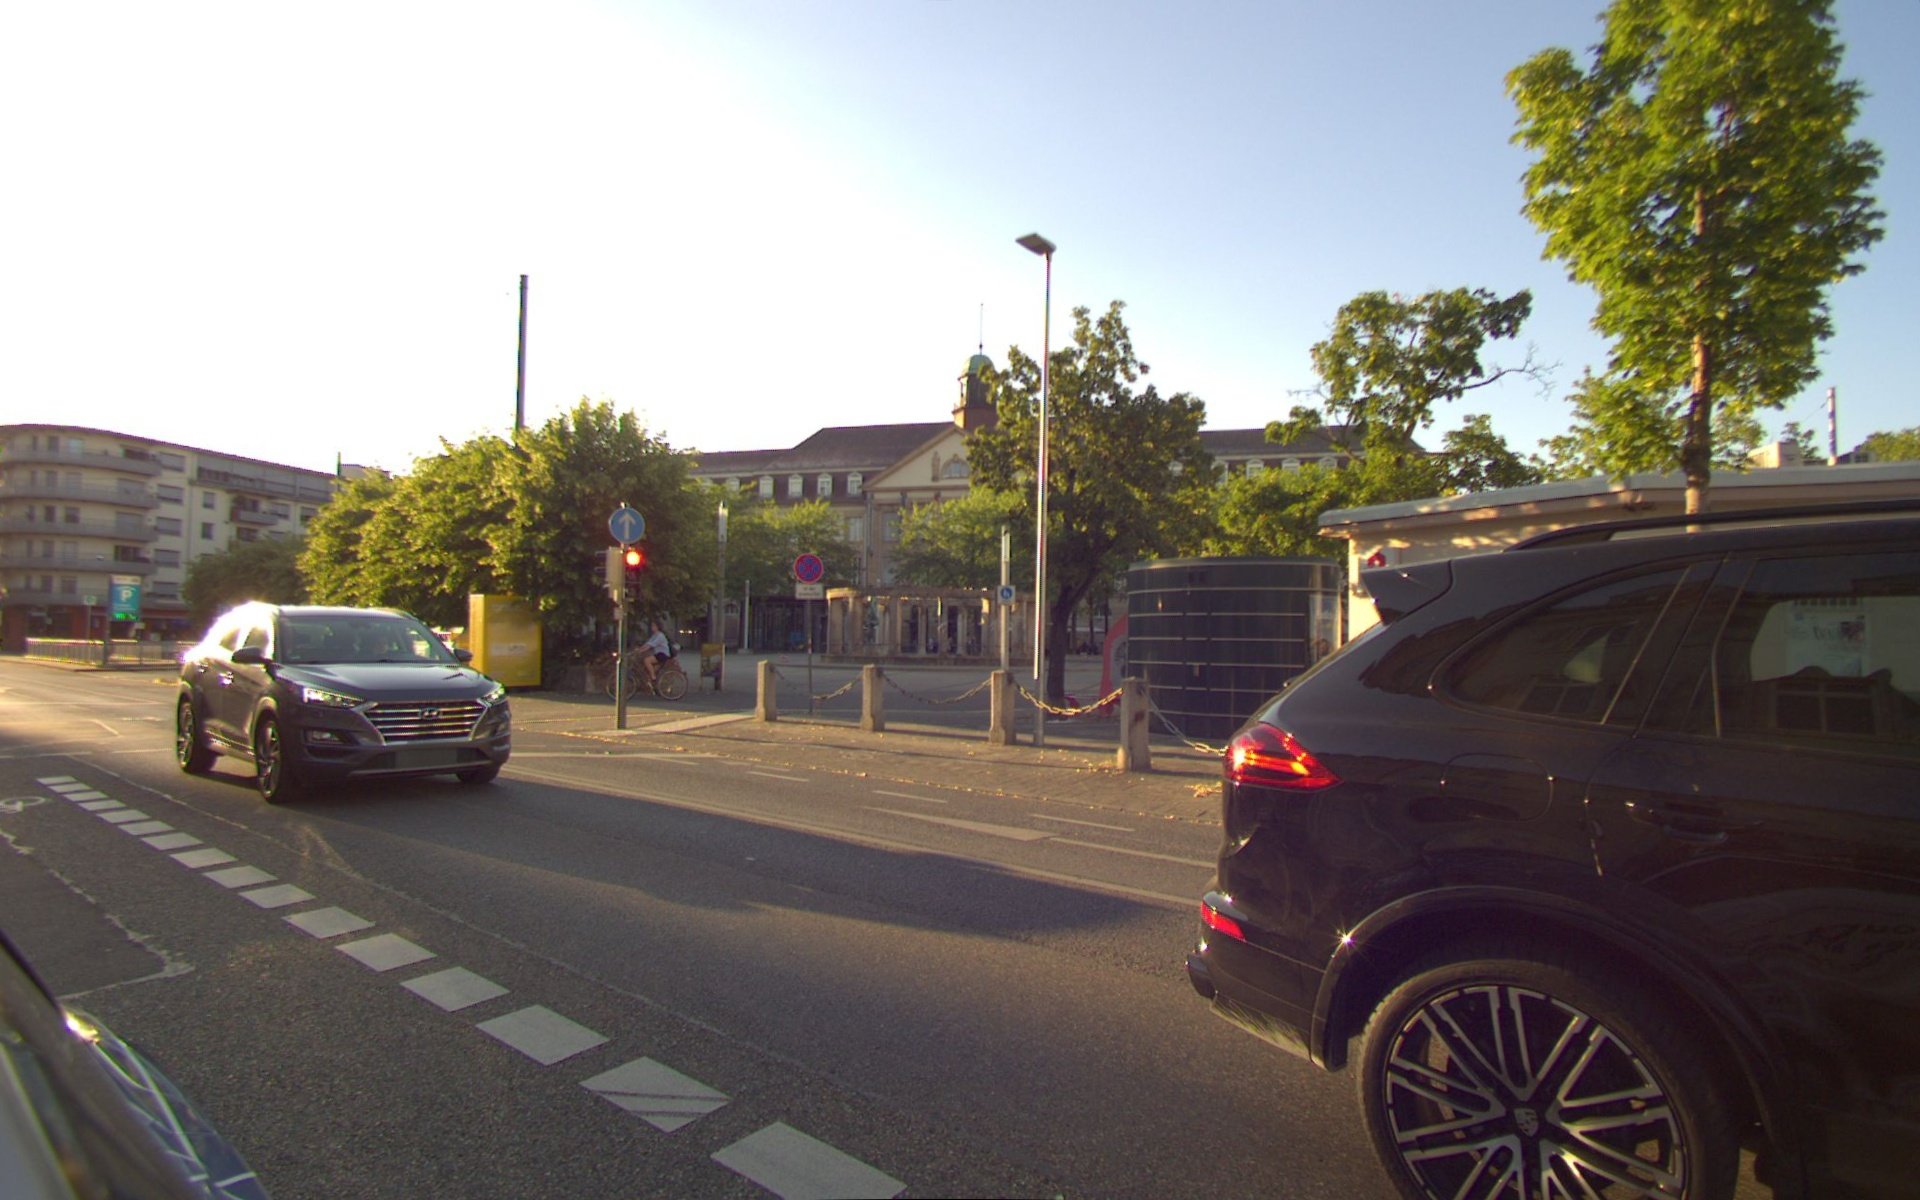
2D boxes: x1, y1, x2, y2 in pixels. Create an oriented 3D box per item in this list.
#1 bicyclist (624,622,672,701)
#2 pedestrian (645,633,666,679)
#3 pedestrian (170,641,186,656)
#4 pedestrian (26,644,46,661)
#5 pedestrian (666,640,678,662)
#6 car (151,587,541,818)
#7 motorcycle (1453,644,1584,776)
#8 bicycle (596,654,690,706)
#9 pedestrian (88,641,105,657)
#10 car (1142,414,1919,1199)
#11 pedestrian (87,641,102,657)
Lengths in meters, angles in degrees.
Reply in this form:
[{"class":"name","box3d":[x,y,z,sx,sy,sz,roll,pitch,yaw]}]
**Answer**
[{"class":"bicyclist","box3d":[-7.073,1.391,22.926,0.766,1.737,0.857,3,-4,-35]},{"class":"pedestrian","box3d":[-11.067,2.011,36.751,0.693,1.633,0.843,1,-2,-17]},{"class":"pedestrian","box3d":[-68.294,4.261,88.379,0.721,1.332,0.891,1,-3,-11]},{"class":"pedestrian","box3d":[-71.944,4.064,78.803,0.726,1.332,0.885,0,-3,13]},{"class":"pedestrian","box3d":[-14.723,2.598,51.685,0.454,1.071,0.531,0,-3,-30]},{"class":"car","box3d":[-5.997,0.874,9.657,4.447,1.702,1.853,-2,-5,41]},{"class":"motorcycle","box3d":[6.850,1.275,12.336,0.867,1.440,2.554,-2,-4,41]},{"class":"bicycle","box3d":[-7.147,1.789,22.860,1.889,1.126,0.707,3,-4,-33]},{"class":"pedestrian","box3d":[-71.170,4.030,83.405,0.814,1.332,0.684,-1,-3,16]},{"class":"car","box3d":[2.830,0.572,1.951,4.558,1.727,1.928,-2,-5,41]},{"class":"pedestrian","box3d":[-70.708,4.005,82.681,0.887,1.332,0.724,-2,-4,38]}]
